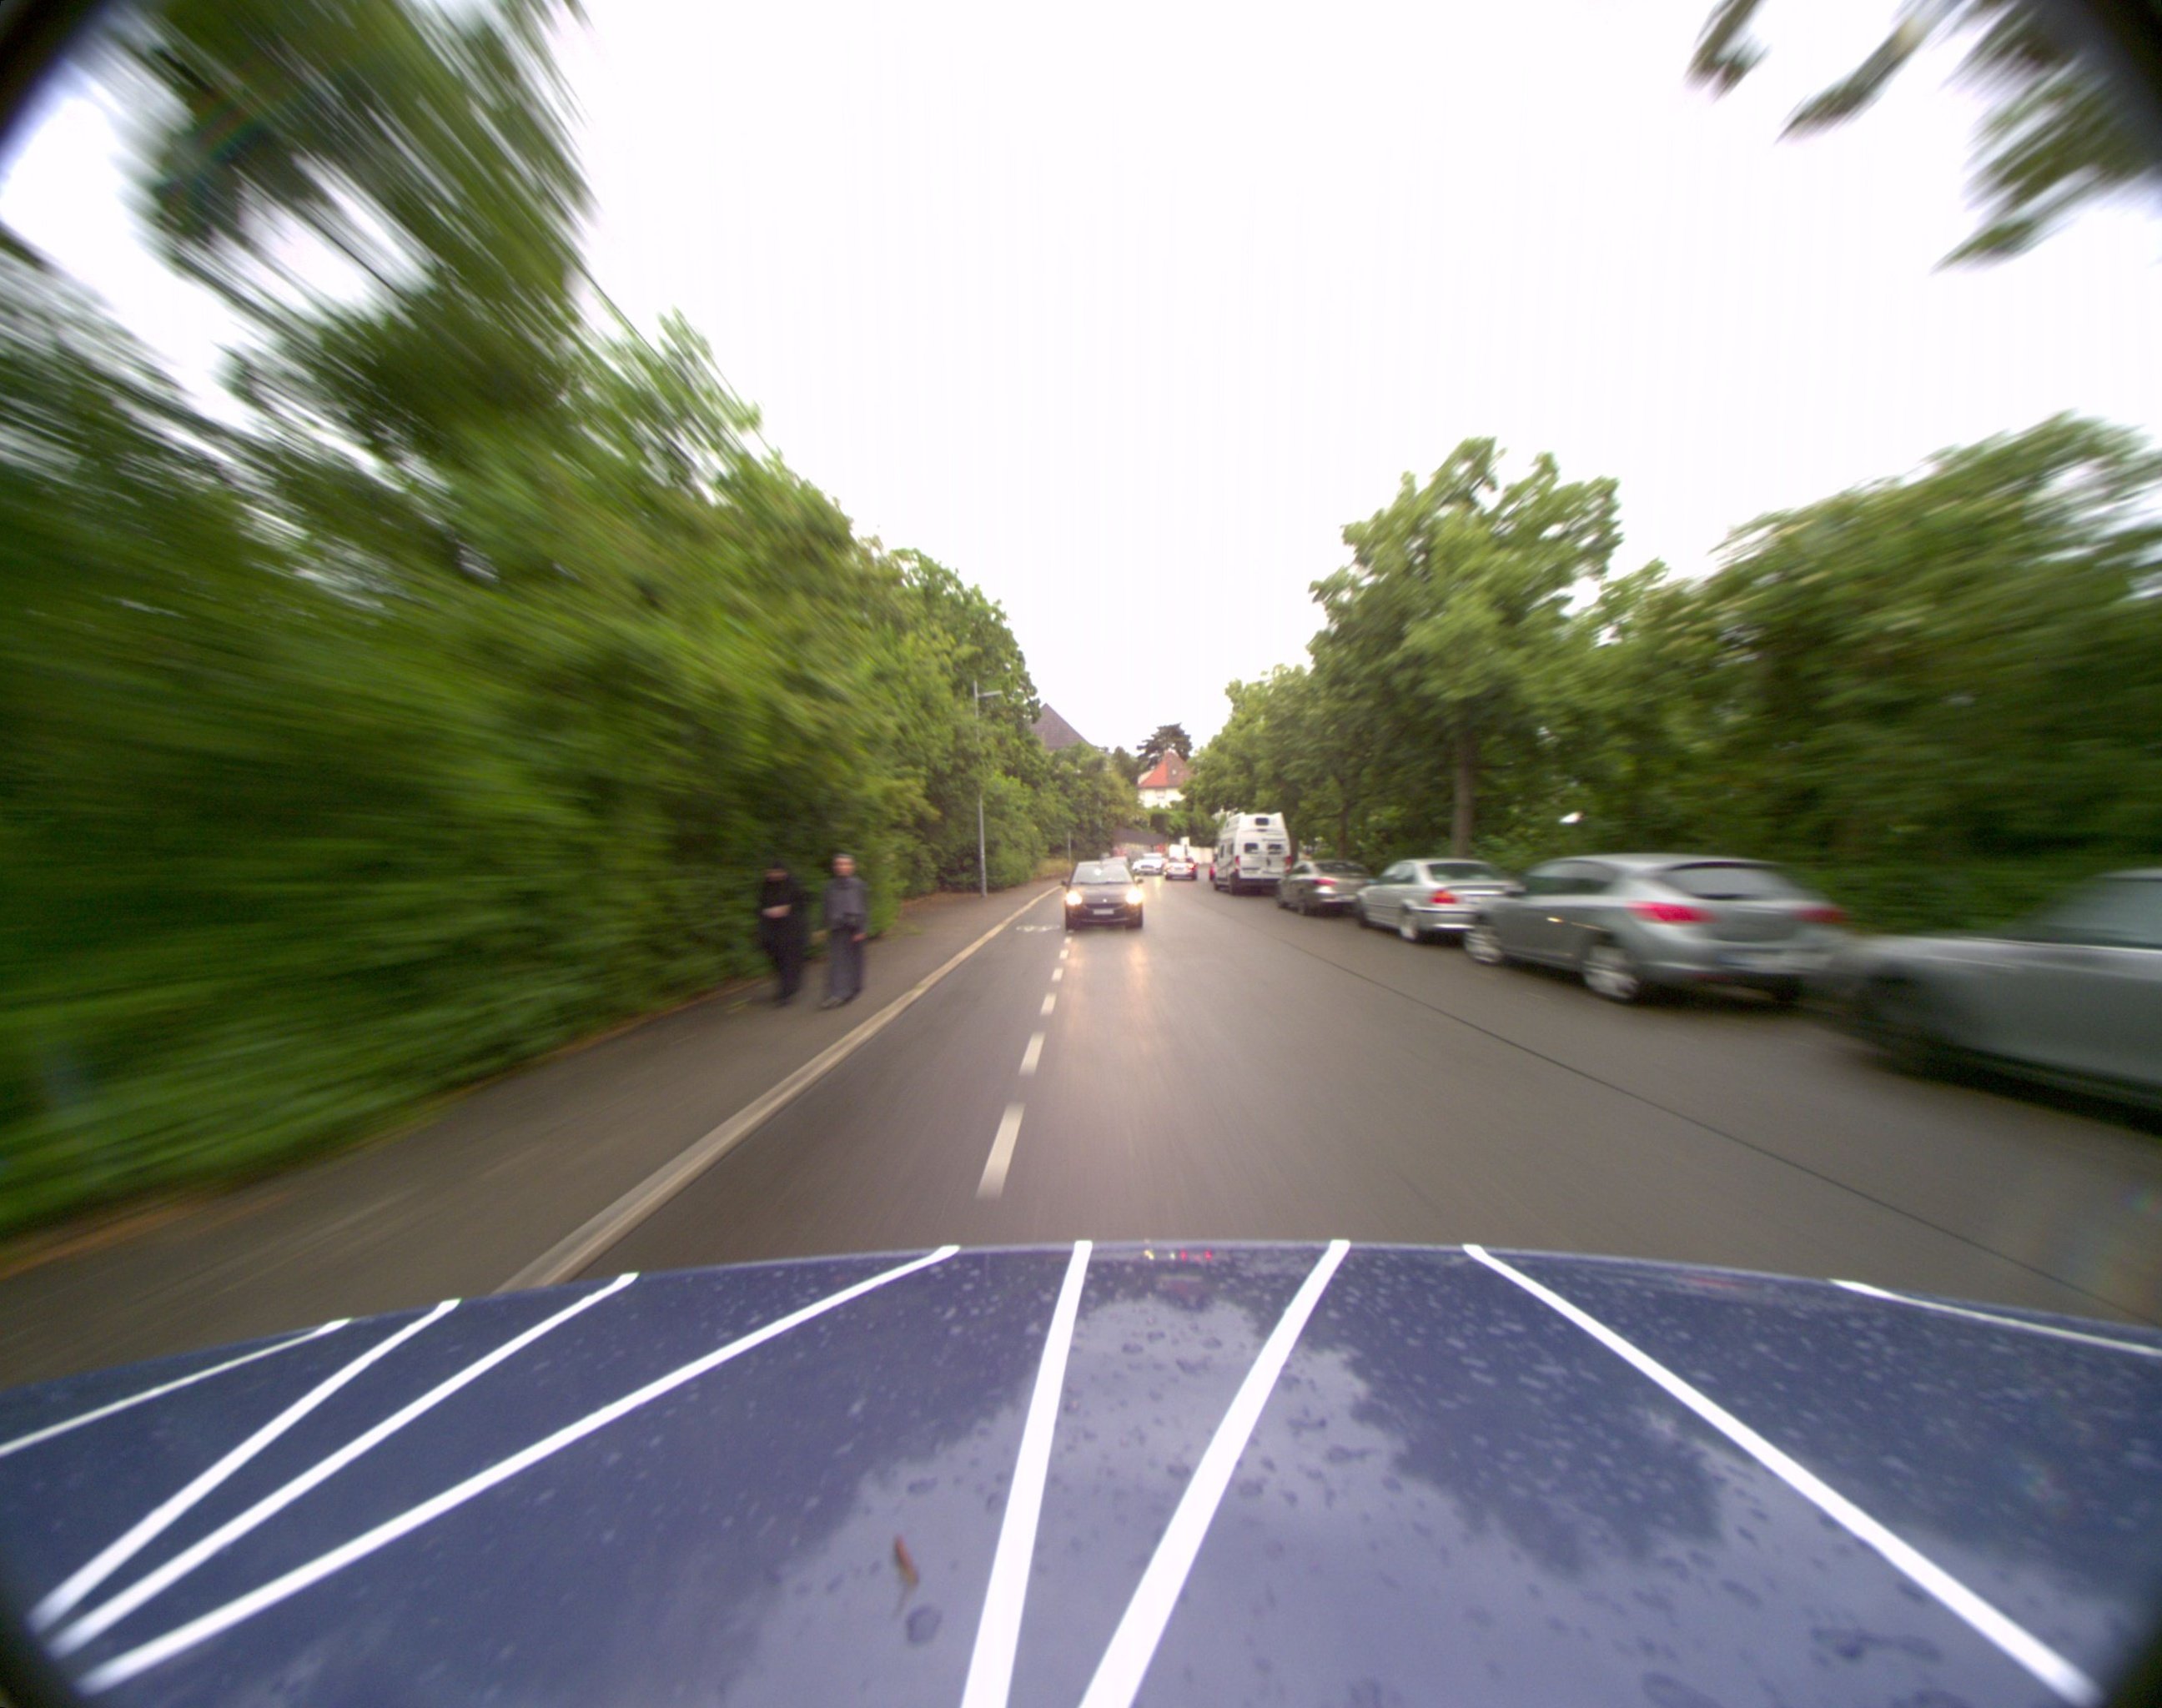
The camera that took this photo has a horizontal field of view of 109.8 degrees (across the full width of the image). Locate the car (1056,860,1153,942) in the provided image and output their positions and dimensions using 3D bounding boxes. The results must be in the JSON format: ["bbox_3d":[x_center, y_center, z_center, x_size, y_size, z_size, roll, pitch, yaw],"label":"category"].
[{"bbox_3d":[0.480,0.909,16.662,1.804,1.418,4.382,-2,1,1],"label":"car"}]

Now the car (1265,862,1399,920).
[{"bbox_3d":[6.428,0.873,20.174,1.998,1.301,5.356,1,0,3],"label":"car"}]

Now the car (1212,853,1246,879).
[{"bbox_3d":[9.265,0.714,47.465,1.957,1.453,4.579,2,1,12],"label":"car"}]

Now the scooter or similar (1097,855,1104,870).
[{"bbox_3d":[1.485,0.672,58.258,0.346,1.111,1.423,1,2,9],"label":"scooter or similar"}]

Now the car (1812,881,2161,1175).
[{"bbox_3d":[6.216,0.837,3.028,1.999,1.396,4.714,0,-1,-1],"label":"car"}]

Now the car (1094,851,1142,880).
[{"bbox_3d":[2.120,0.604,42.004,2.029,1.454,4.003,-1,1,12],"label":"car"}]

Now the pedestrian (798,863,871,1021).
[{"bbox_3d":[-2.527,0.879,7.823,0.553,1.557,0.487,0,1,8],"label":"pedestrian"}]

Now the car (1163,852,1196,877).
[{"bbox_3d":[6.045,0.631,46.483,1.887,1.394,4.258,-1,1,8],"label":"car"}]

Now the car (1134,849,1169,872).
[{"bbox_3d":[5.378,0.452,57.487,2.028,1.619,4.232,-1,1,14],"label":"car"}]

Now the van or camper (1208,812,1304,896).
[{"bbox_3d":[6.826,-0.025,30.557,2.511,3.009,6.561,0,1,2],"label":"van or camper"}]

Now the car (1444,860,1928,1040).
[{"bbox_3d":[6.220,0.830,8.775,1.998,1.397,4.714,0,1,3],"label":"car"}]

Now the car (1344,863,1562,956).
[{"bbox_3d":[6.461,0.866,13.911,1.998,1.397,4.716,0,0,5],"label":"car"}]

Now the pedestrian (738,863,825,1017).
[{"bbox_3d":[-3.173,0.886,8.092,0.596,1.557,0.669,-1,-1,5],"label":"pedestrian"}]
